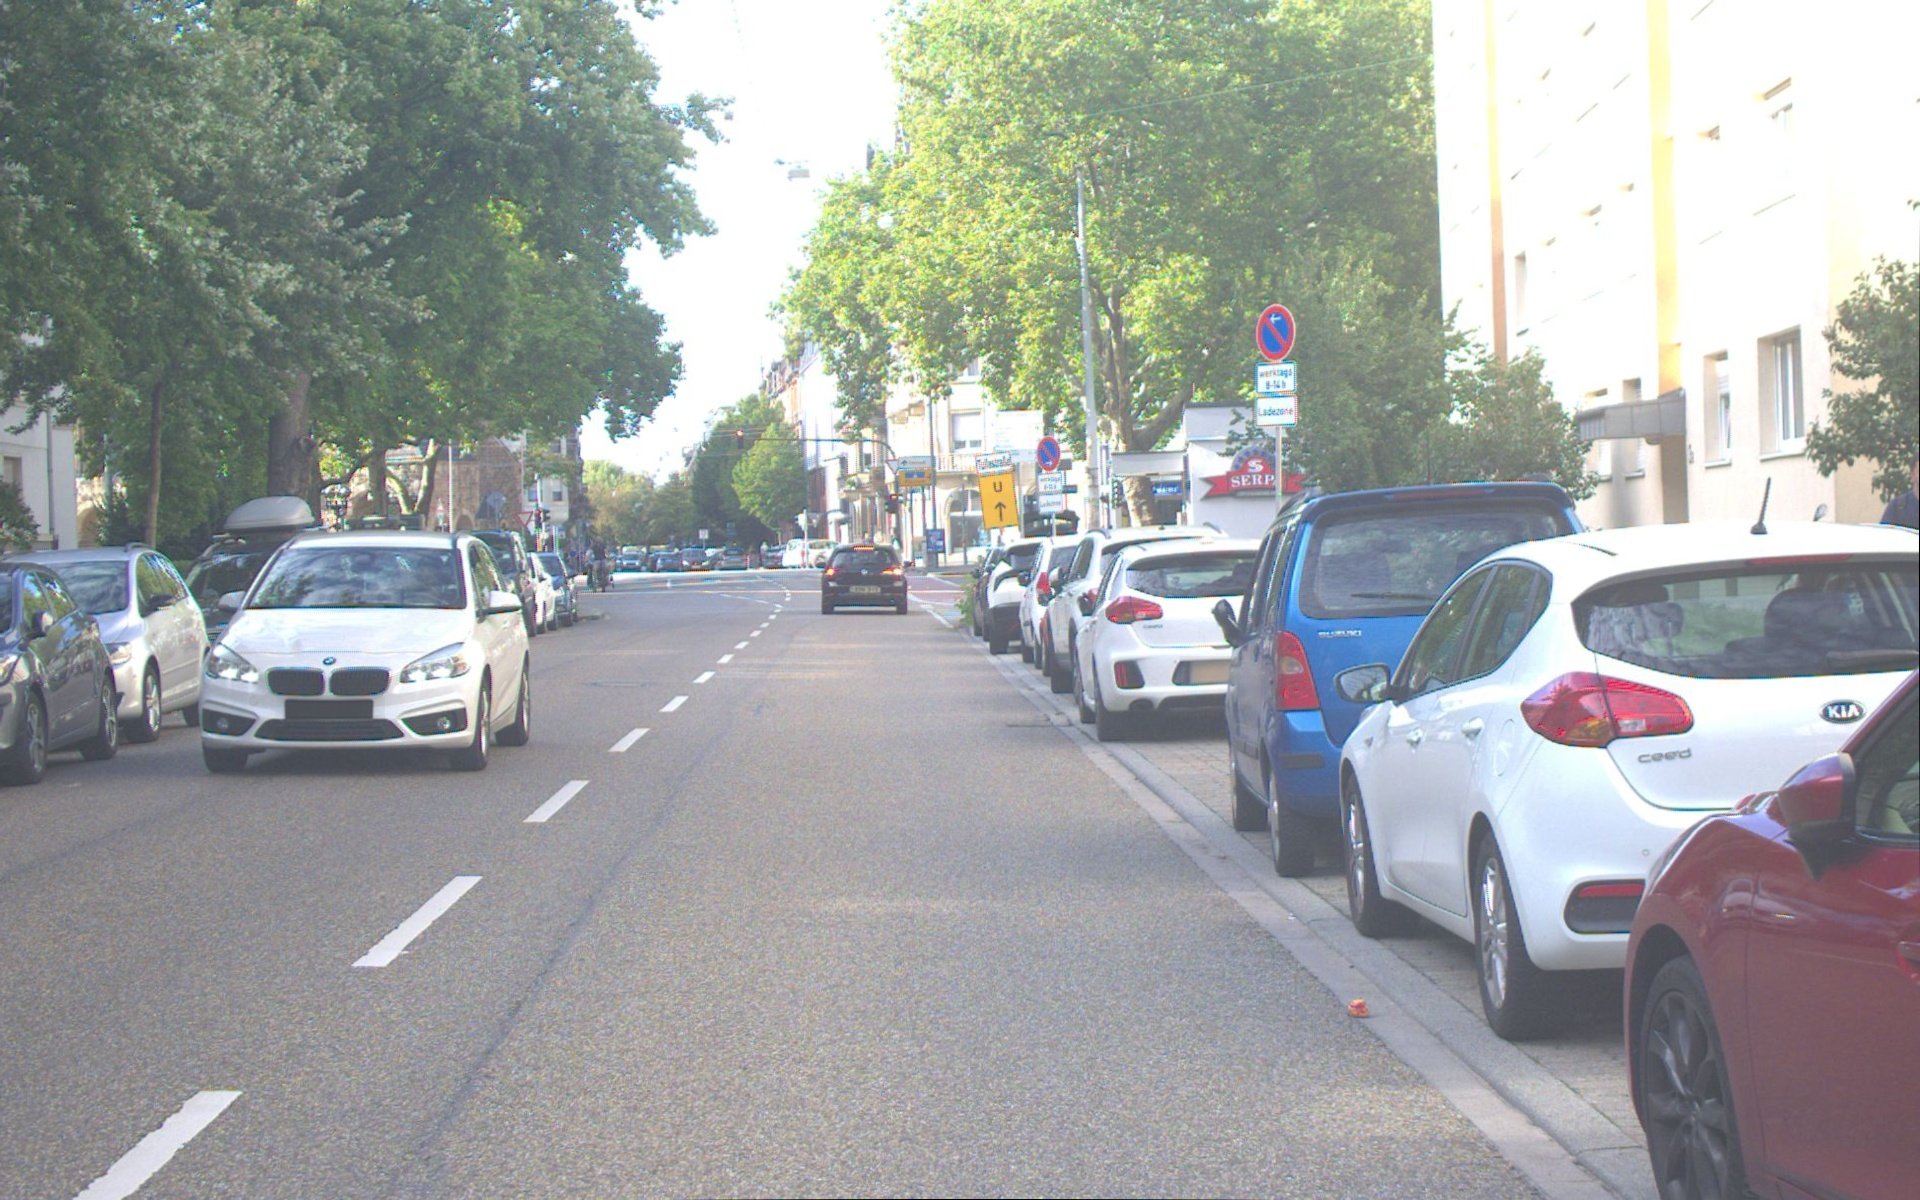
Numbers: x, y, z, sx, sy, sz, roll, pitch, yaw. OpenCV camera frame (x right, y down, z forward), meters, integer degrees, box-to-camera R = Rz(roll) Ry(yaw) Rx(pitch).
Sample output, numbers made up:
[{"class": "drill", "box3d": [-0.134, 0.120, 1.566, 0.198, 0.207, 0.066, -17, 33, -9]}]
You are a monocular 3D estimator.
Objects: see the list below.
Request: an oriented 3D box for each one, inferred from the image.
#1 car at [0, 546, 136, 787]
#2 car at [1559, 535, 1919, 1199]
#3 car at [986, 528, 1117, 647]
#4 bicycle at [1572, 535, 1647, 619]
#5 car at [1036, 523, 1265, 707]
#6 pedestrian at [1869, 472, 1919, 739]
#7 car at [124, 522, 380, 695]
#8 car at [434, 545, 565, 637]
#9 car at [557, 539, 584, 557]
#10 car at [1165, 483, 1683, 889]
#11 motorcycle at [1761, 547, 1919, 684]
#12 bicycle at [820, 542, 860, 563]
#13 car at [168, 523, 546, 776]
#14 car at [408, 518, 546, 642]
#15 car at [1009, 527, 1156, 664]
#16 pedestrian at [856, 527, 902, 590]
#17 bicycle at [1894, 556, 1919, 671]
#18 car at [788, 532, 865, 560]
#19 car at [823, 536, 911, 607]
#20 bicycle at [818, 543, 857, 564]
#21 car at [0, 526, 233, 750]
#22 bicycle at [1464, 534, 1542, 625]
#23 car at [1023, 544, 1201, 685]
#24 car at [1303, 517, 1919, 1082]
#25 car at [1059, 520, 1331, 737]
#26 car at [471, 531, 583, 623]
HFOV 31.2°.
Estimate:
[{"class": "car", "box3d": [-6.750, 0.435, 23.061, 1.614, 1.463, 4.014, -4, 1, -4]}, {"class": "car", "box3d": [2.371, 0.630, 5.639, 1.728, 1.510, 4.192, -2, 1, -4]}, {"class": "car", "box3d": [1.232, -0.203, 47.180, 1.690, 1.523, 4.238, -1, 1, 1]}, {"class": "bicycle", "box3d": [8.959, -0.329, 47.451, 0.529, 1.111, 2.209, -2, 1, -1]}, {"class": "car", "box3d": [1.742, 0.105, 32.656, 1.728, 1.575, 4.118, -2, 1, -2]}, {"class": "pedestrian", "box3d": [6.294, 0.025, 22.428, 0.542, 1.715, 0.771, -1, 1, 4]}, {"class": "car", "box3d": [-7.605, 0.042, 37.344, 1.799, 1.662, 4.483, -3, 1, -1]}, {"class": "car", "box3d": [-8.233, -0.190, 61.723, 1.799, 1.488, 3.803, -3, 1, -1]}, {"class": "car", "box3d": [-26.338, -3.536, 232.503, 1.550, 1.225, 3.588, 0, 1, -2]}, {"class": "car", "box3d": [2.080, 0.334, 16.540, 1.728, 1.644, 4.117, -2, 1, -2]}, {"class": "motorcycle", "box3d": [7.213, 0.106, 28.123, 0.630, 1.041, 2.394, -3, 1, -2]}, {"class": "bicycle", "box3d": [-6.489, -2.545, 185.525, 2.022, 1.078, 0.620, -2, 1, -14]}, {"class": "car", "box3d": [-3.956, 0.267, 23.196, 1.859, 1.523, 4.011, -1, 1, -1]}, {"class": "car", "box3d": [-7.909, -0.350, 56.599, 1.723, 1.876, 4.192, -3, 1, -2]}, {"class": "car", "box3d": [1.441, -0.081, 41.377, 1.551, 1.552, 3.468, -1, 1, -1]}, {"class": "pedestrian", "box3d": [-2.266, -1.168, 96.572, 1.074, 1.747, 0.919, 0, 1, -18]}, {"class": "bicycle", "box3d": [8.119, 0.111, 28.130, 0.458, 0.938, 1.517, -2, 1, -2]}, {"class": "car", "box3d": [-7.283, -2.966, 187.825, 3.986, 1.415, 2.001, -2, 1, -8]}, {"class": "car", "box3d": [-1.928, -0.603, 70.610, 1.751, 1.409, 4.001, -1, 1, -2]}, {"class": "bicycle", "box3d": [-6.625, -2.533, 186.139, 2.022, 1.078, 0.631, -2, 1, -14]}, {"class": "car", "box3d": [-7.227, 0.285, 28.211, 1.738, 1.614, 3.995, -5, 1, -3]}, {"class": "bicycle", "box3d": [7.512, -0.298, 47.614, 0.597, 1.183, 2.209, -4, 1, -1]}, {"class": "car", "box3d": [1.610, 0.129, 37.413, 1.515, 1.393, 3.677, -2, 1, -3]}, {"class": "car", "box3d": [2.292, 0.492, 11.214, 1.728, 1.456, 4.117, -2, 1, -2]}, {"class": "car", "box3d": [1.744, 0.172, 26.841, 1.728, 1.482, 4.642, -2, 1, 0]}, {"class": "car", "box3d": [-8.318, -0.467, 66.295, 1.799, 1.614, 3.803, -4, 1, -3]}]
